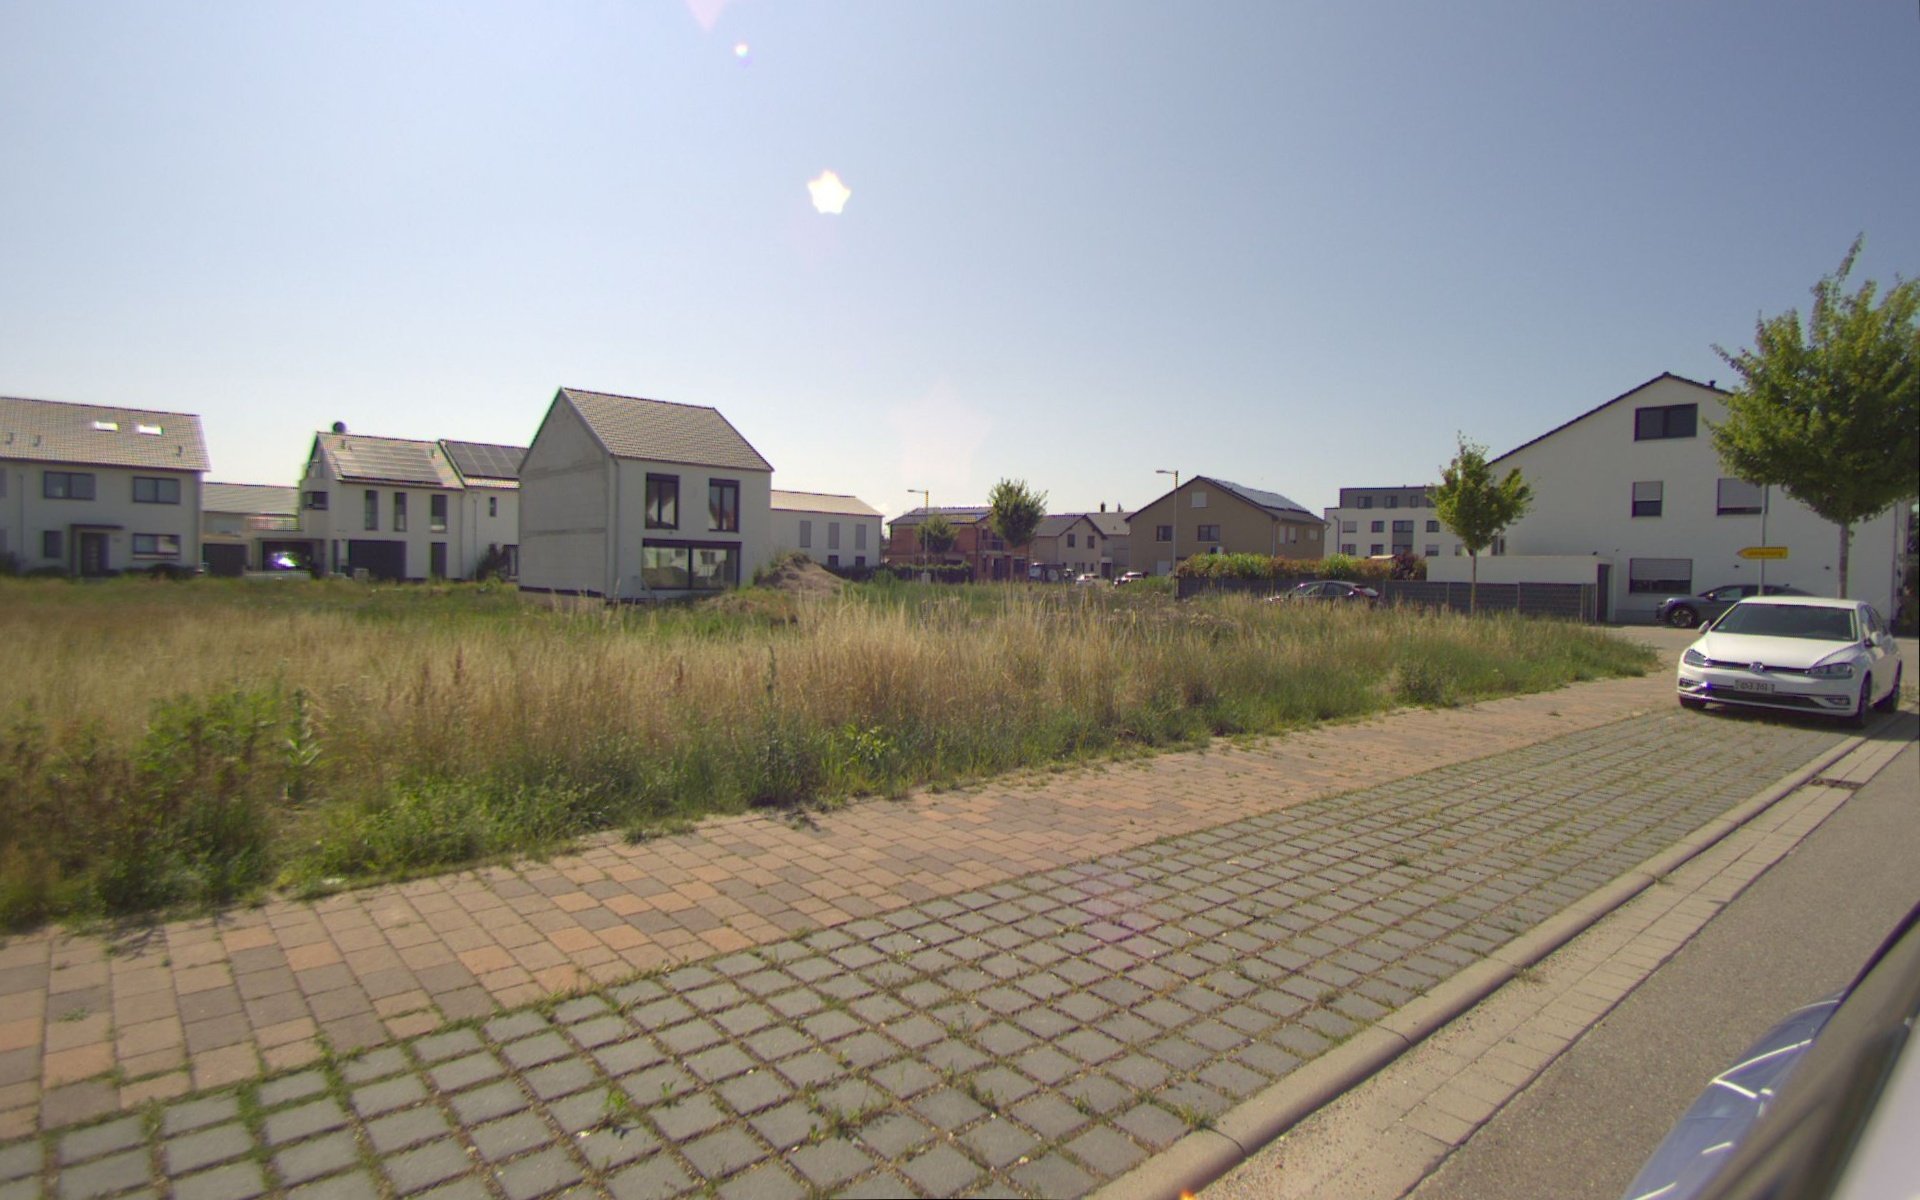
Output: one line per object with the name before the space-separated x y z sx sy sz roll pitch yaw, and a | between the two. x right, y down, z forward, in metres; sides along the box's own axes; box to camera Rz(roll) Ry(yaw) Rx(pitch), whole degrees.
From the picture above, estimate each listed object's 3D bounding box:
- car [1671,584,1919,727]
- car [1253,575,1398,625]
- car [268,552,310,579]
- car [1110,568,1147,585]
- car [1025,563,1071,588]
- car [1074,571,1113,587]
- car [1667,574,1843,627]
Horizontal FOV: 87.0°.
car | 10.668 0.577 12.795 4.093 1.437 1.779 0 3 -41
car | 12.094 -0.055 33.634 4.178 1.512 1.822 2 3 42
car | -38.974 -2.014 58.748 1.782 1.531 3.998 0 2 -37
car | 16.150 -2.243 96.652 1.742 1.521 3.943 3 2 39
car | 7.515 -2.082 86.435 1.991 2.038 3.943 2 2 39
car | 12.138 -1.914 91.798 1.660 1.418 3.865 3 2 39
car | 26.332 -0.027 33.619 1.927 1.577 4.342 0 1 -43
